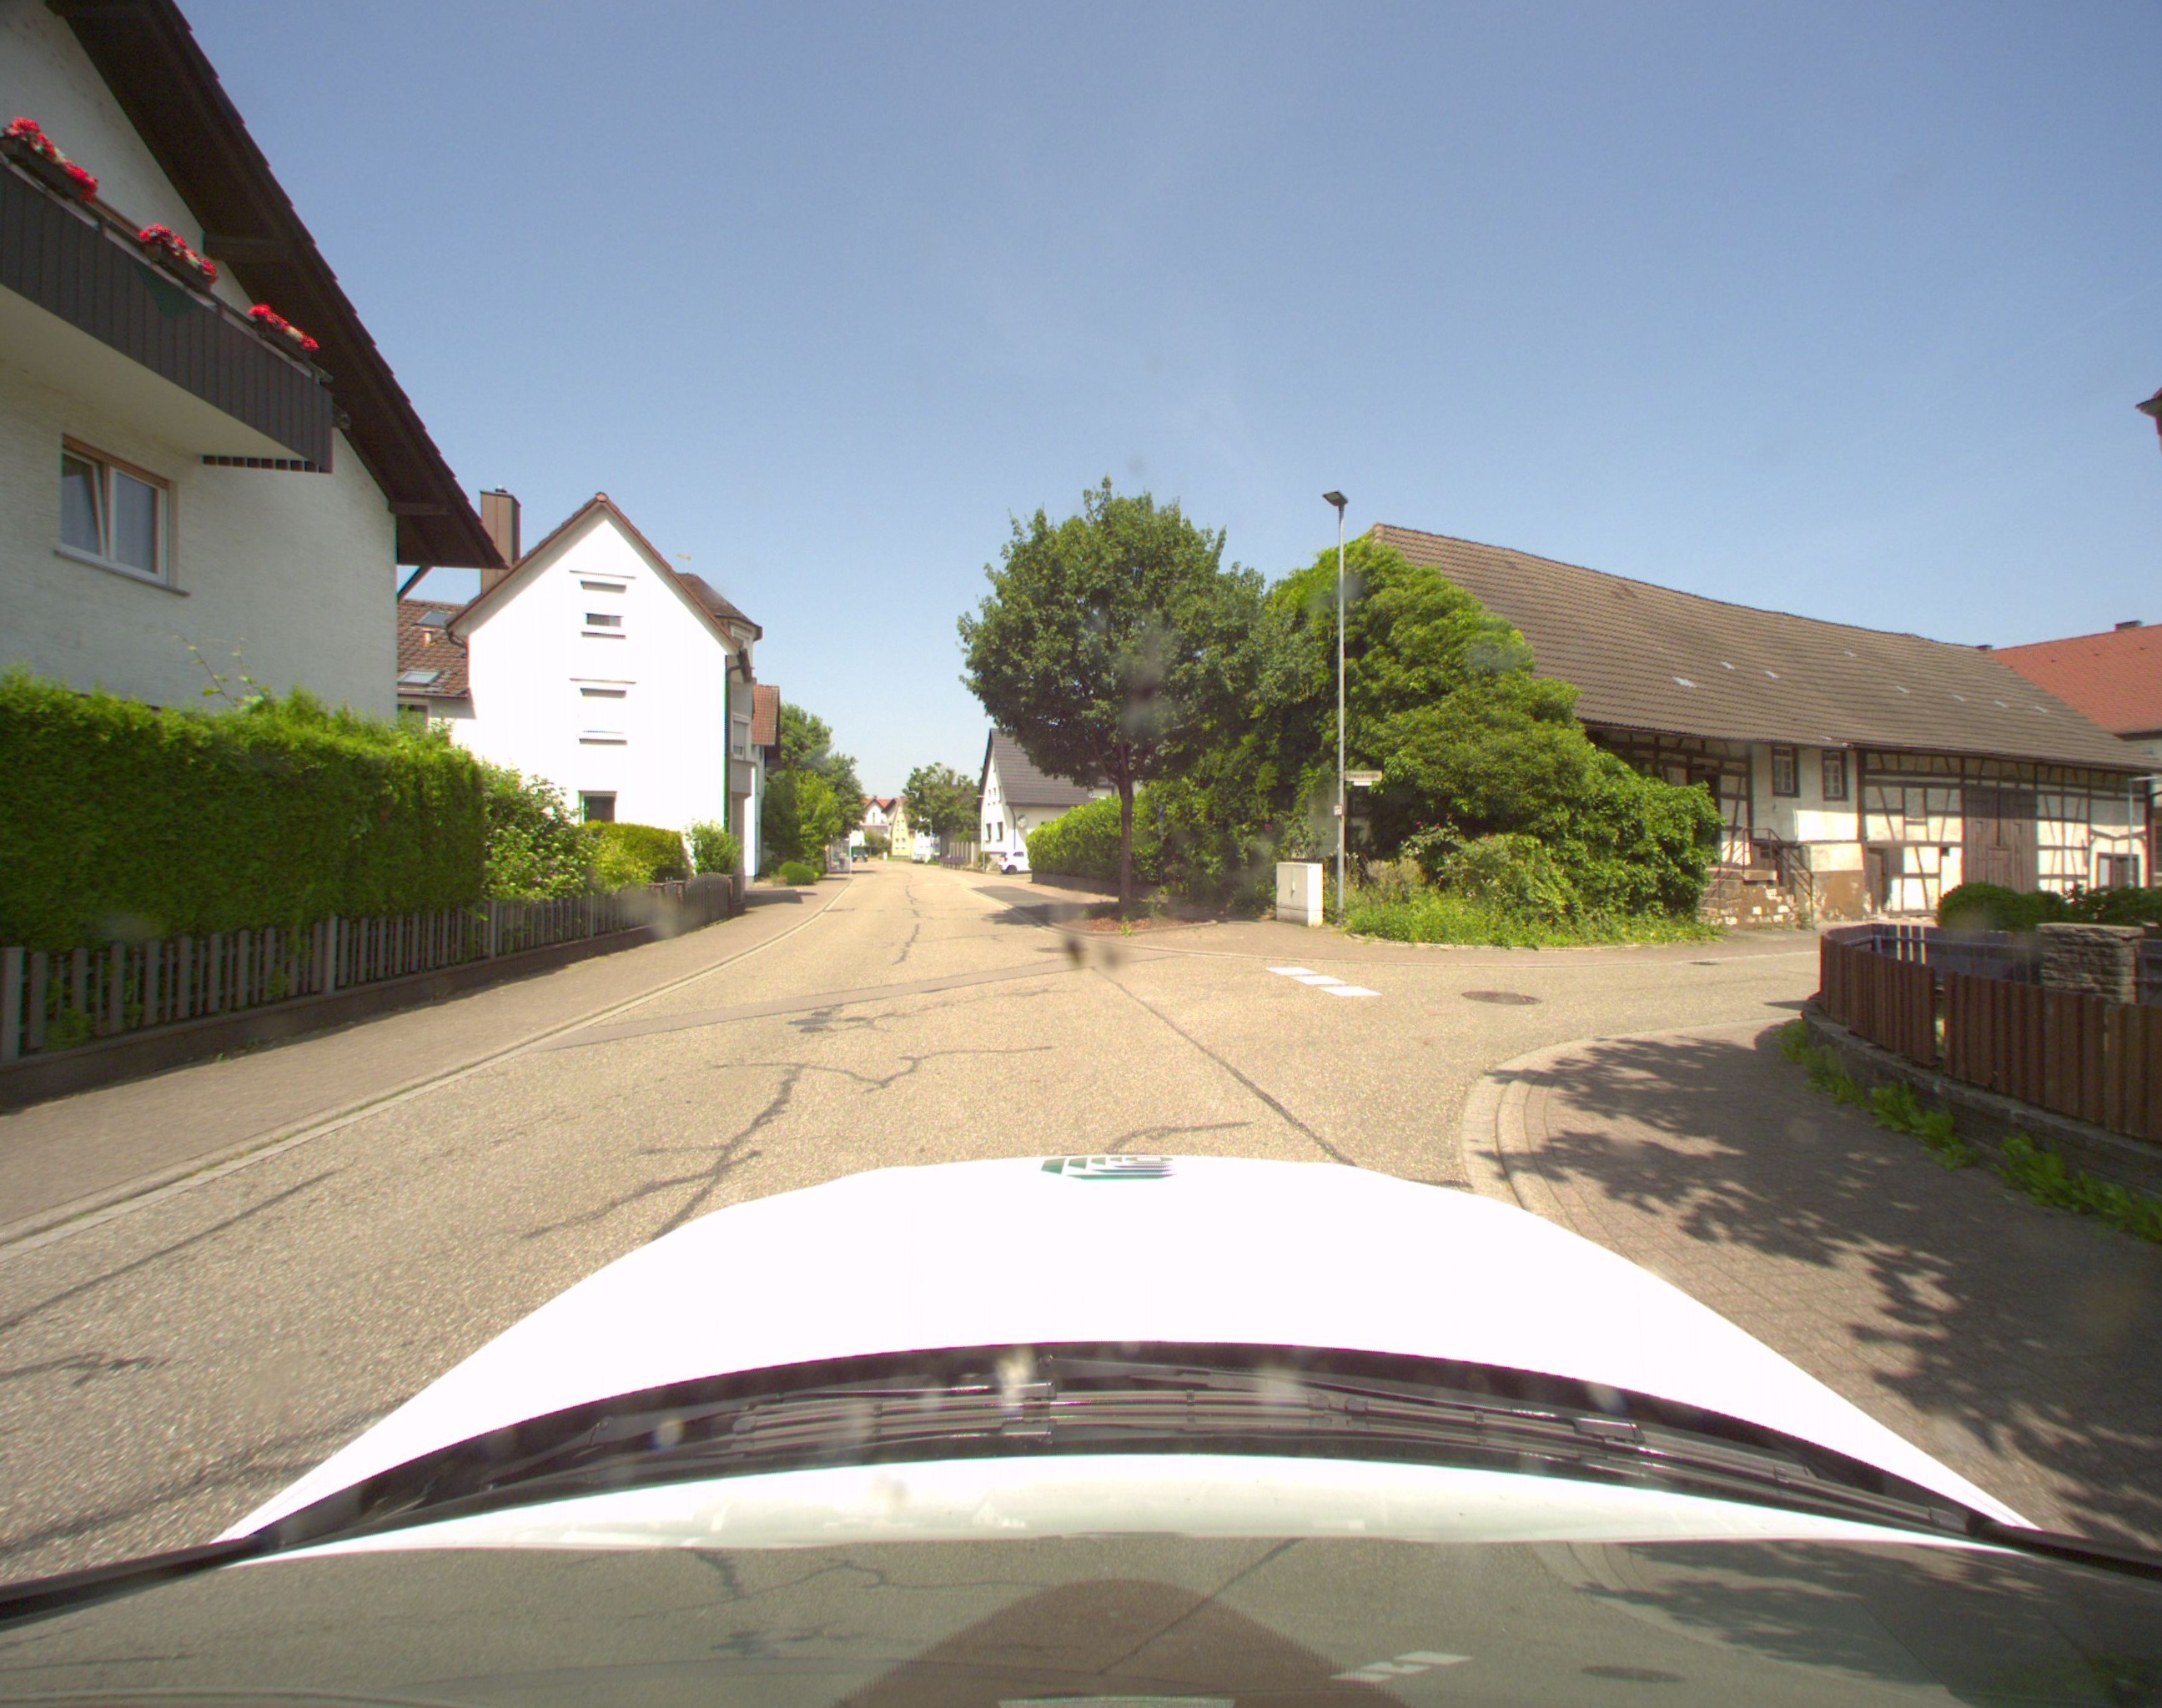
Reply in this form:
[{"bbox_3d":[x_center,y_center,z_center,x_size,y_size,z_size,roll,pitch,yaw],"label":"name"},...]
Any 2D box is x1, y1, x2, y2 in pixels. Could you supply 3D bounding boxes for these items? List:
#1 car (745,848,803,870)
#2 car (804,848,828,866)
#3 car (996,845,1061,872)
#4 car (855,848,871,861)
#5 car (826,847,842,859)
[{"bbox_3d":[-24.253,0.370,64.529,4.172,1.538,1.762,-2,1,-19],"label":"car"},{"bbox_3d":[-22.620,0.234,69.413,1.784,1.434,4.029,0,1,-20],"label":"car"},{"bbox_3d":[-3.245,0.268,50.564,3.671,1.474,1.753,-2,2,-21],"label":"car"},{"bbox_3d":[-29.163,0.052,108.948,1.777,1.623,4.088,-1,0,-12],"label":"car"},{"bbox_3d":[-34.281,-0.140,113.048,1.633,1.486,3.970,-2,1,-22],"label":"car"}]
